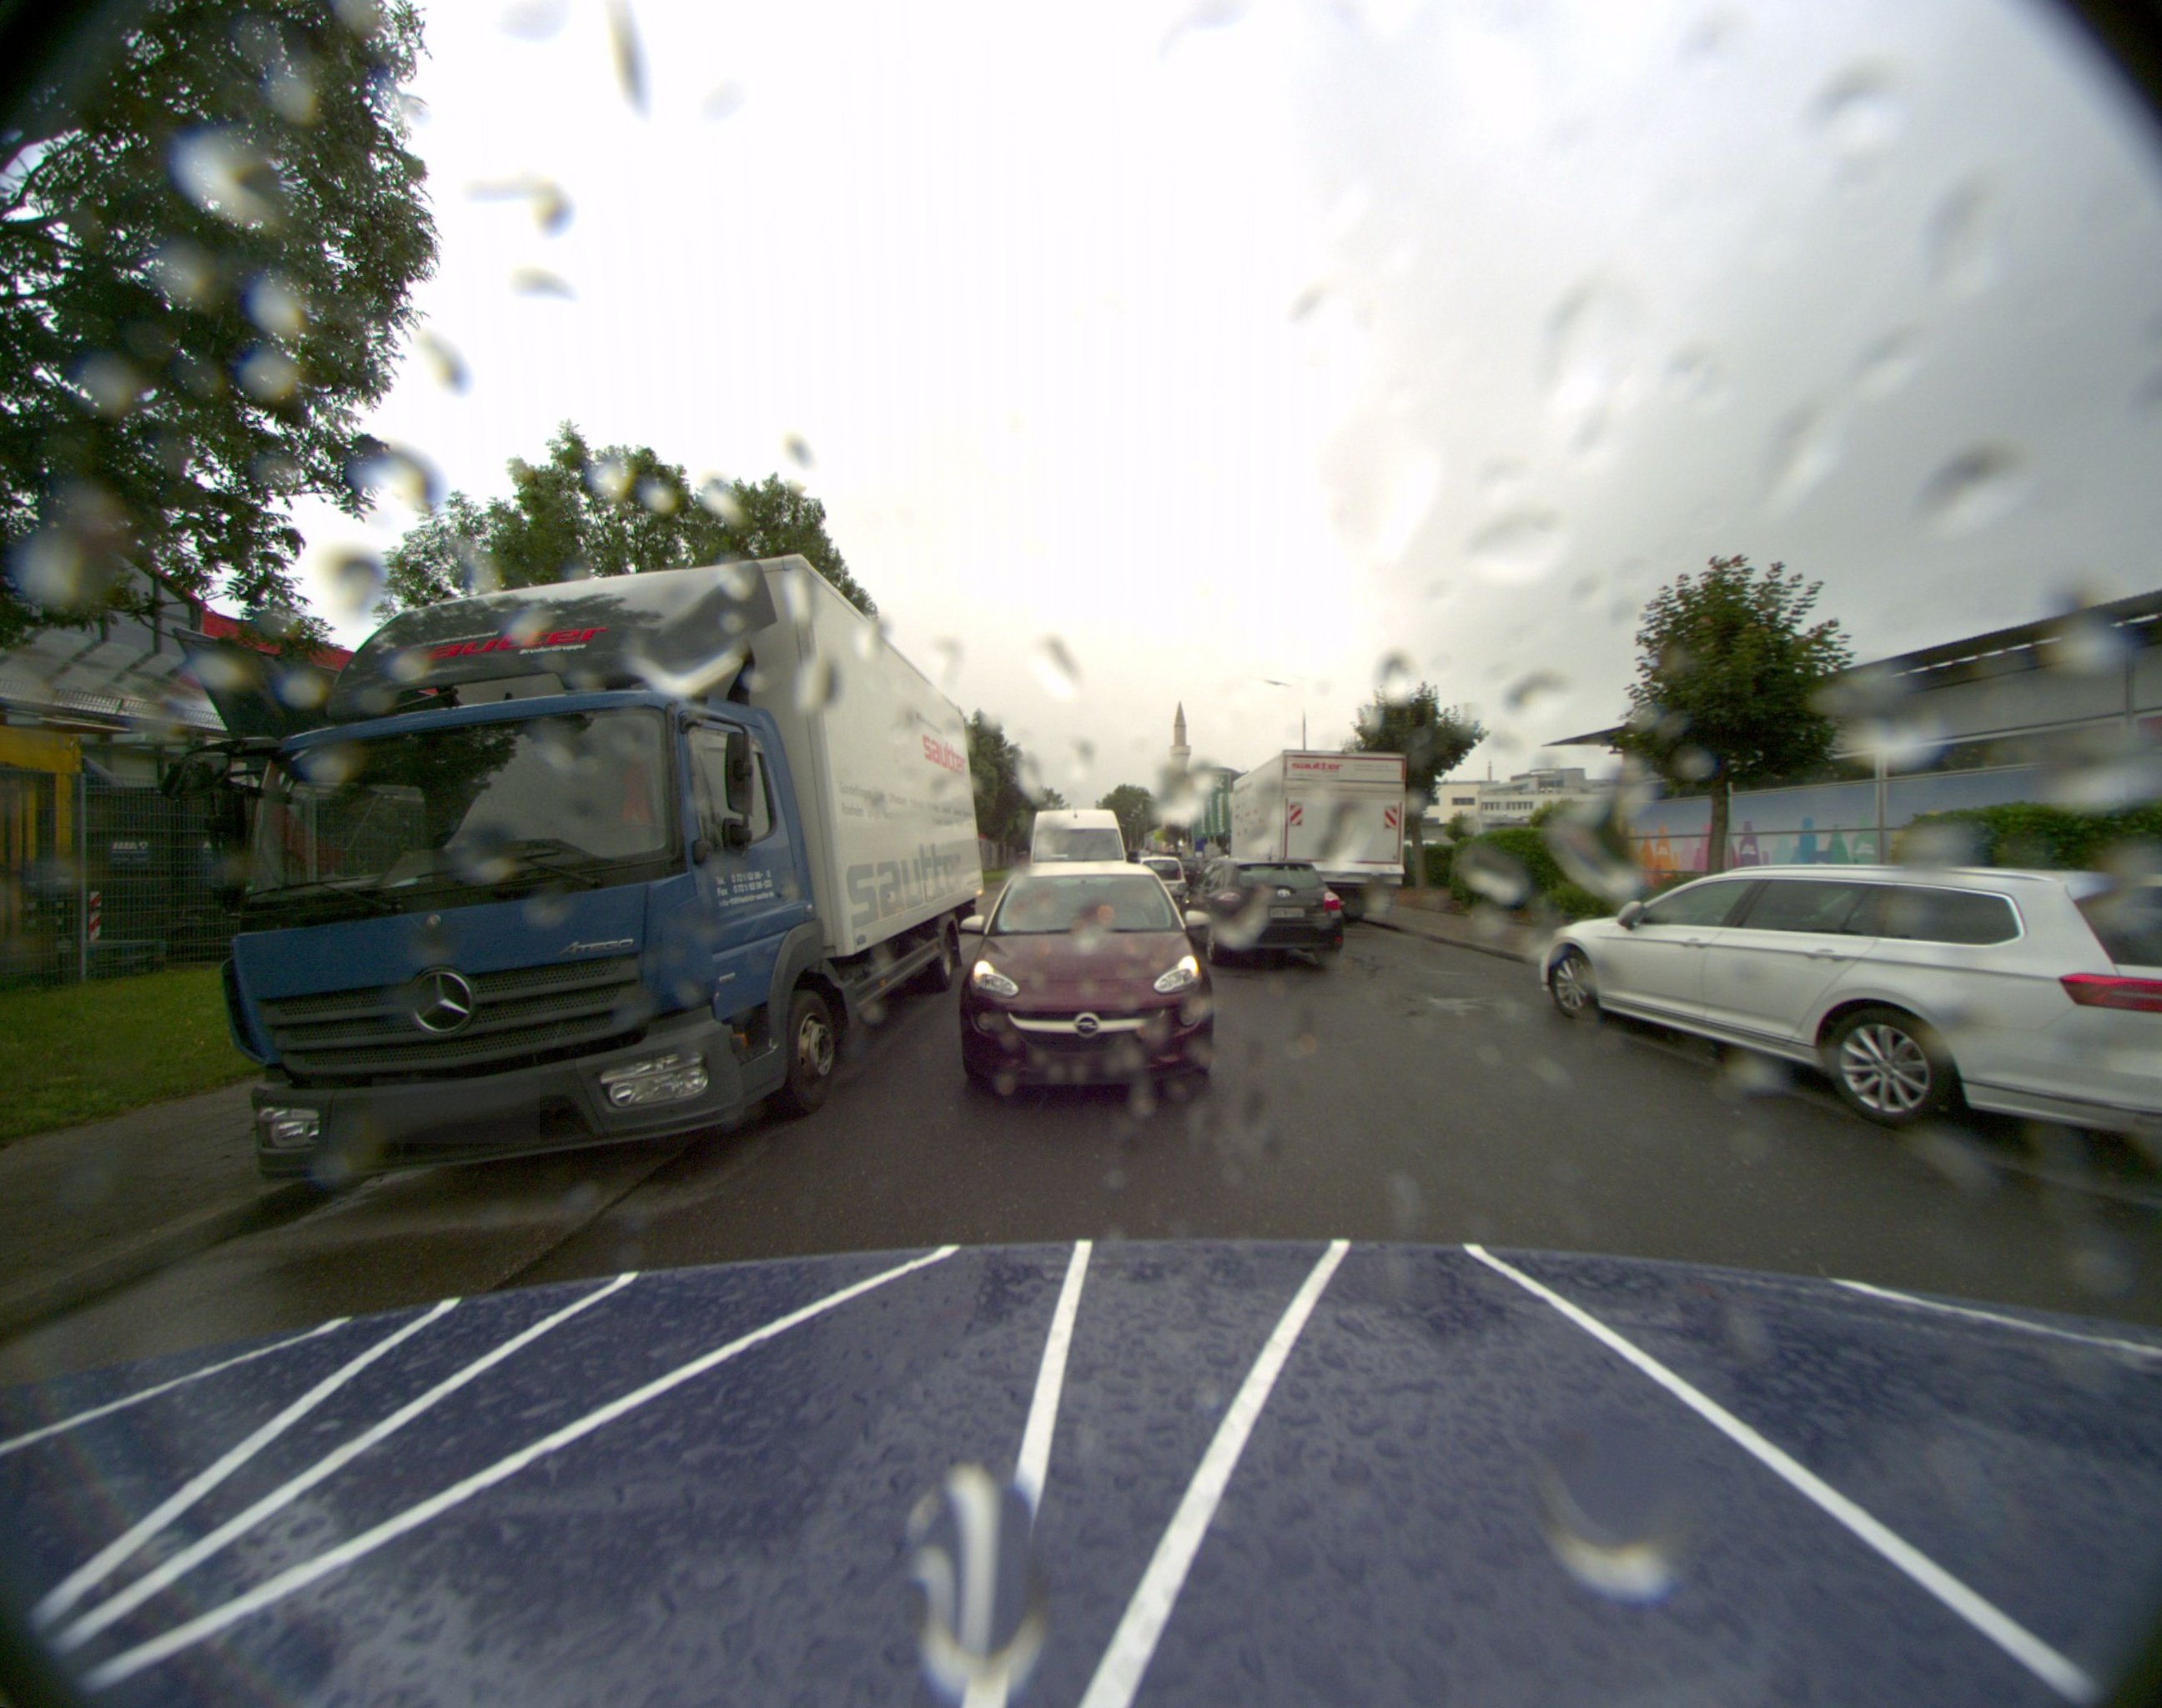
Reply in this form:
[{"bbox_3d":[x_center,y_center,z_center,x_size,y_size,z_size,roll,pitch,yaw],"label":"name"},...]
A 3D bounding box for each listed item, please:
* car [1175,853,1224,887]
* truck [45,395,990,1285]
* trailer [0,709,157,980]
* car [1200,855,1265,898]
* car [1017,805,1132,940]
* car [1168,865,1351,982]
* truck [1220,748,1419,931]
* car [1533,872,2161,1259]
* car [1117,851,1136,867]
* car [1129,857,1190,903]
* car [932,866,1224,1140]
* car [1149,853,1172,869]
[{"bbox_3d":[5.402,0.708,34.969,1.691,1.457,3.513,-1,0,0],"label":"car"},{"bbox_3d":[-2.909,-0.043,7.270,2.678,3.670,8.009,-3,0,1],"label":"truck"},{"bbox_3d":[-18.352,-0.077,9.000,2.974,4.219,9.469,-1,1,1],"label":"trailer"},{"bbox_3d":[5.587,0.800,28.321,1.691,1.457,3.513,-1,0,0],"label":"car"},{"bbox_3d":[-0.148,0.336,16.692,2.085,2.466,5.346,-1,0,-1],"label":"car"},{"bbox_3d":[2.500,0.916,11.660,1.735,1.432,3.999,0,0,-2],"label":"car"},{"bbox_3d":[5.607,-0.306,19.522,2.888,3.724,7.868,-1,0,2],"label":"truck"},{"bbox_3d":[5.312,0.907,5.207,1.840,1.426,4.492,1,0,2],"label":"car"},{"bbox_3d":[4.575,0.470,77.207,1.691,1.588,3.610,-1,0,0],"label":"car"},{"bbox_3d":[2.586,0.835,25.749,1.615,1.430,3.407,1,0,-1],"label":"car"},{"bbox_3d":[0.006,0.897,6.190,1.637,1.446,3.578,-2,0,1],"label":"car"},{"bbox_3d":[6.785,0.556,65.383,1.579,1.333,3.610,-1,0,0],"label":"car"}]
